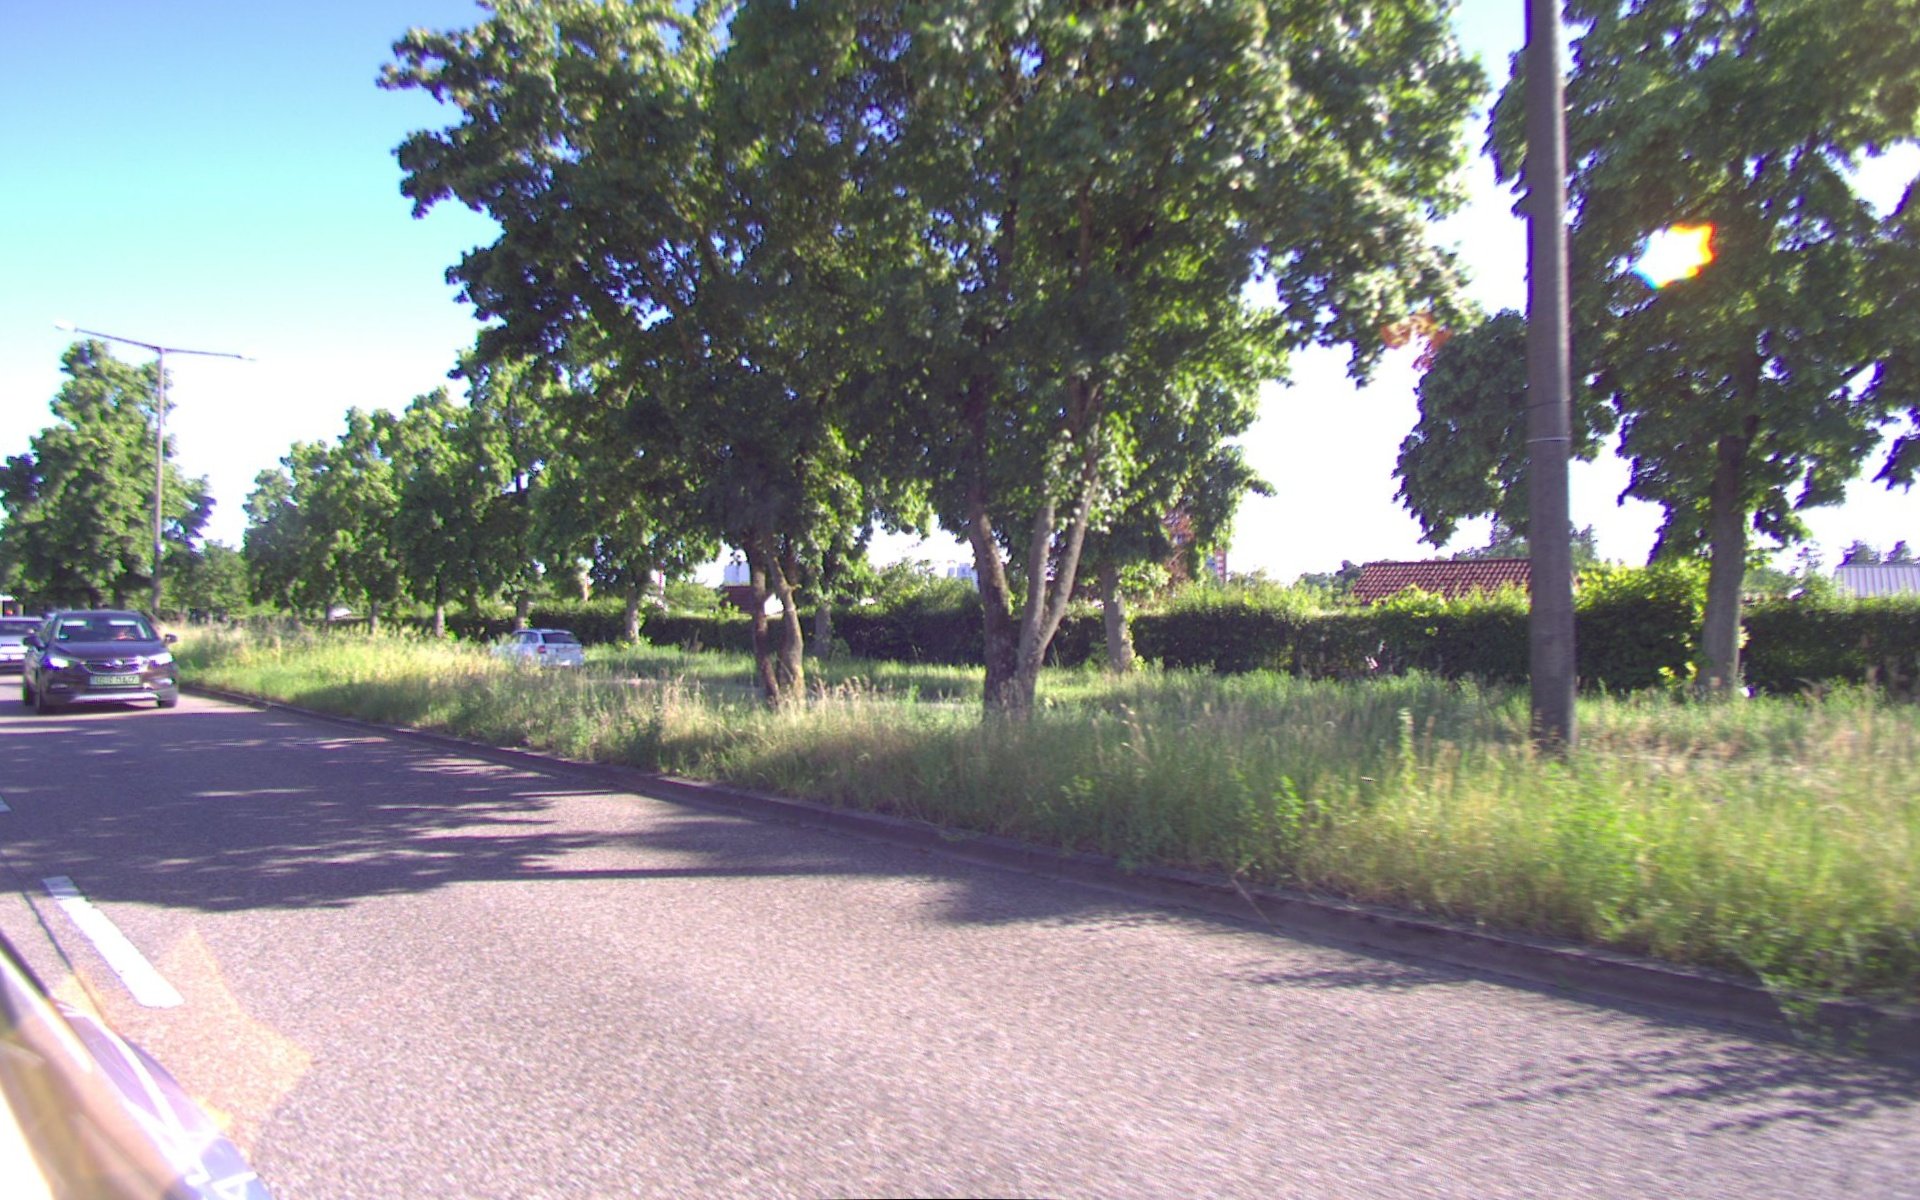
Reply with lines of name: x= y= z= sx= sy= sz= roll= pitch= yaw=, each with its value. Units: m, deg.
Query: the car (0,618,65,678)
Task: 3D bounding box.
car: x=-26.693 y=1.307 z=28.517 sx=4.646 sy=1.574 sz=1.799 roll=-1 pitch=-2 yaw=43

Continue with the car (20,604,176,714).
car: x=-14.798 y=0.907 z=17.274 sx=1.785 sy=1.627 sz=4.519 roll=2 pitch=-1 yaw=-43

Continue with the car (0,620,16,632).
car: x=-139.941 y=3.819 z=148.524 sx=3.571 sy=1.818 sz=1.610 roll=-1 pitch=-2 yaw=41

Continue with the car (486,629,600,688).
car: x=-13.326 y=1.811 z=32.248 sx=4.001 sy=1.669 sz=1.916 roll=-1 pitch=0 yaw=44
